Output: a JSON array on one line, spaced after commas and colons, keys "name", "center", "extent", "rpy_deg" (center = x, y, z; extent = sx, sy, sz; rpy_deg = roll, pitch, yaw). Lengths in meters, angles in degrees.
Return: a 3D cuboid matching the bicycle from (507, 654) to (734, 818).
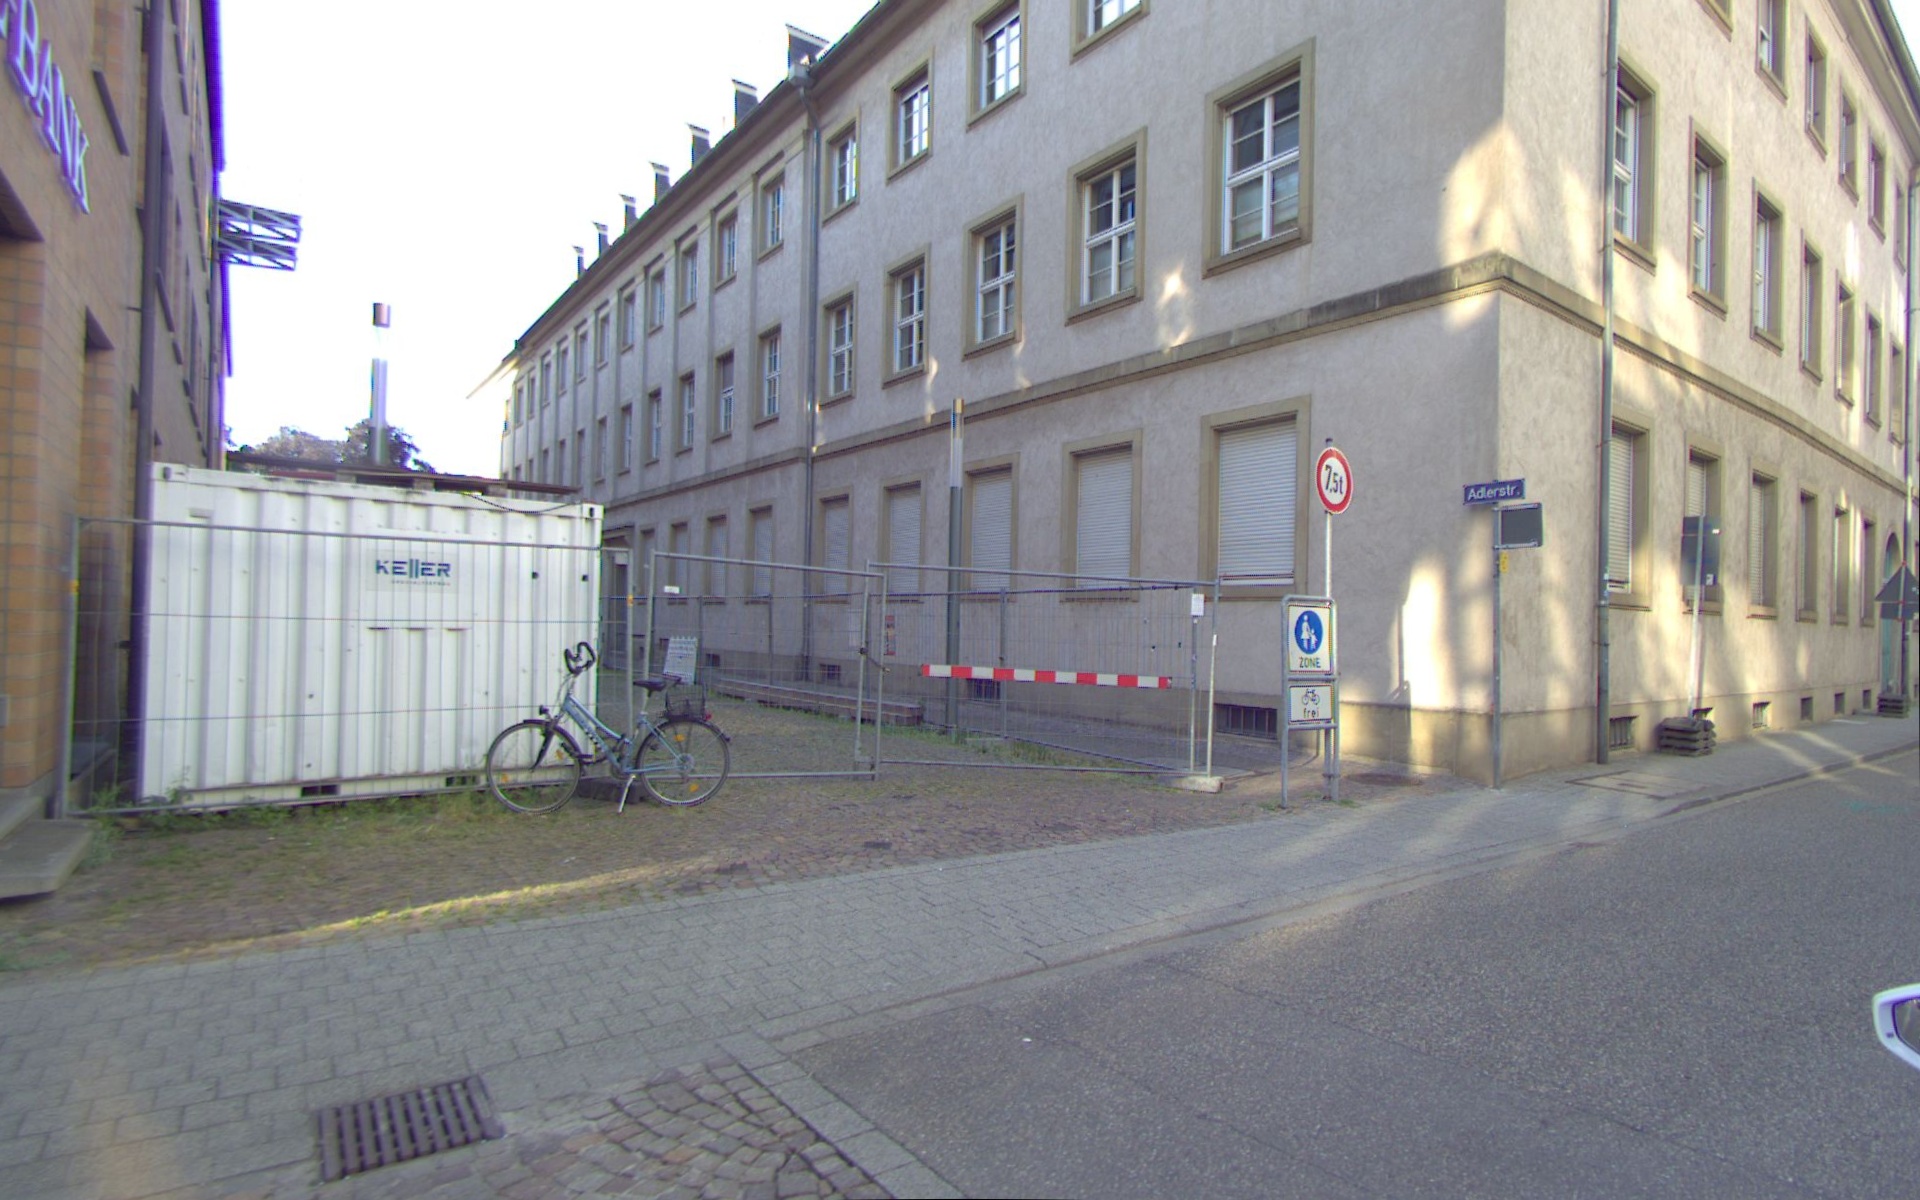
[{"name": "bicycle", "center": [-2.540, 1.009, 7.632], "extent": [1.565, 1.159, 0.430], "rpy_deg": [2, -1, -15]}]
